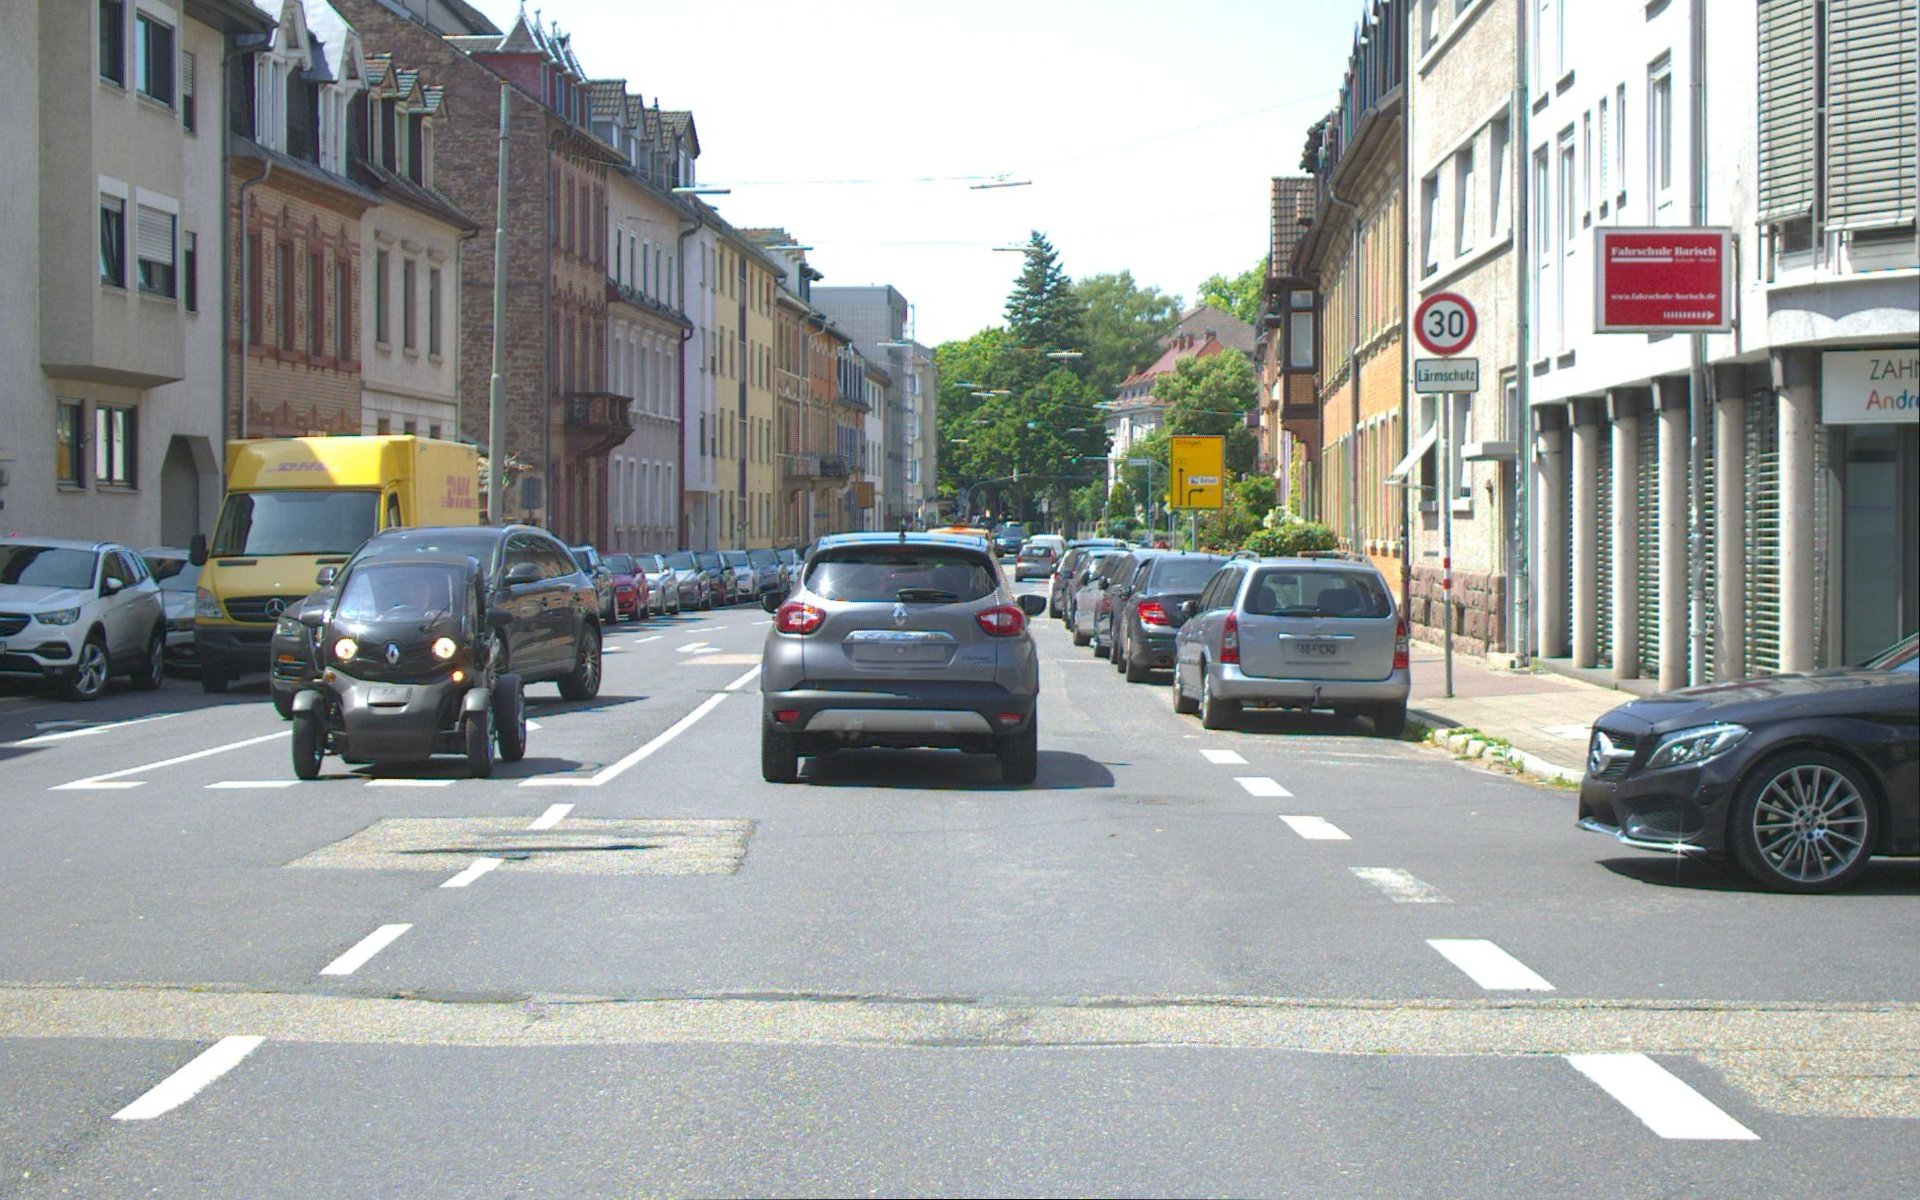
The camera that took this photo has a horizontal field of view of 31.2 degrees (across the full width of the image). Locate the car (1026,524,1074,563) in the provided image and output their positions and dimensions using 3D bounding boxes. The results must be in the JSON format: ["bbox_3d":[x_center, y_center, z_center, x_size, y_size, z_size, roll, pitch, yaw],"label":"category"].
[{"bbox_3d":[3.653,-2.289,139.668,1.763,1.554,3.942,0,1,4],"label":"car"}]

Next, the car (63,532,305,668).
[{"bbox_3d":[-9.345,-0.030,41.720,1.840,1.483,4.386,3,1,1],"label":"car"}]

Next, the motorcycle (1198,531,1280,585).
[{"bbox_3d":[7.503,-1.138,92.680,2.129,1.403,0.937,-2,1,2],"label":"motorcycle"}]

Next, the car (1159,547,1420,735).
[{"bbox_3d":[2.769,0.295,29.679,1.677,1.449,4.143,2,1,-2],"label":"car"}]

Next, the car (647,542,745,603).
[{"bbox_3d":[-6.752,-0.722,88.460,1.840,1.417,4.502,-3,1,4],"label":"car"}]

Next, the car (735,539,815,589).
[{"bbox_3d":[-5.644,-1.118,105.396,1.840,1.417,4.557,-3,1,4],"label":"car"}]

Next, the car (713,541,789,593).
[{"bbox_3d":[-6.035,-0.968,99.628,1.840,1.418,4.646,-2,1,0],"label":"car"}]

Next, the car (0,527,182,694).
[{"bbox_3d":[-9.536,0.059,35.811,1.839,1.590,4.387,3,1,-1],"label":"car"}]

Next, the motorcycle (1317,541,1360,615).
[{"bbox_3d":[6.249,-0.367,56.797,0.596,1.220,1.361,0,1,1],"label":"motorcycle"}]

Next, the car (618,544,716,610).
[{"bbox_3d":[-7.007,-0.565,82.598,1.840,1.417,4.502,-4,1,1],"label":"car"}]

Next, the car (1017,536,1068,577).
[{"bbox_3d":[3.190,-1.679,131.990,1.763,1.554,3.942,0,1,4],"label":"car"}]

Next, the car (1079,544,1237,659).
[{"bbox_3d":[2.532,-0.010,44.770,1.651,1.415,4.049,0,1,-2],"label":"car"}]

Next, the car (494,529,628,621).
[{"bbox_3d":[-7.552,-0.485,65.431,1.840,1.591,4.502,-3,1,2],"label":"car"}]

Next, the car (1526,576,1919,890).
[{"bbox_3d":[5.188,0.610,16.397,4.580,1.360,2.000,1,1,-2],"label":"car"}]

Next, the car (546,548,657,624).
[{"bbox_3d":[-7.277,-0.305,70.154,1.839,1.417,4.503,-3,1,-1],"label":"car"}]

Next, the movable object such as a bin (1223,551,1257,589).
[{"bbox_3d":[6.801,-0.722,83.445,0.788,0.904,0.539,0,1,0],"label":"movable object such as a bin"}]

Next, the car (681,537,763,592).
[{"bbox_3d":[-6.468,-0.966,93.707,1.840,1.418,4.502,-2,1,0],"label":"car"}]

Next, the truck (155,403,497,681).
[{"bbox_3d":[-6.941,-0.652,38.643,2.225,2.762,7.564,-1,1,1],"label":"truck"}]

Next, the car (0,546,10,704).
[{"bbox_3d":[-9.869,0.222,30.134,1.839,1.484,4.387,3,1,-1],"label":"car"}]

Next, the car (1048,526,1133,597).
[{"bbox_3d":[3.189,-0.944,83.460,1.994,1.656,4.625,0,1,2],"label":"car"}]

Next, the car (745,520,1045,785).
[{"bbox_3d":[-0.518,0.283,22.943,1.743,1.611,4.001,0,1,-5],"label":"car"}]

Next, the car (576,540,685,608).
[{"bbox_3d":[-7.324,-0.587,76.741,1.840,1.418,4.502,-2,1,2],"label":"car"}]

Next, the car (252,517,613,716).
[{"bbox_3d":[-4.588,0.108,30.601,1.813,1.615,4.440,-1,1,10],"label":"car"}]

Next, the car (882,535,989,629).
[{"bbox_3d":[-0.410,-0.354,62.444,1.812,1.615,4.441,-1,1,1],"label":"car"}]

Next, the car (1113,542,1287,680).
[{"bbox_3d":[2.652,0.080,38.784,1.711,1.468,4.438,0,1,1],"label":"car"}]

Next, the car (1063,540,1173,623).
[{"bbox_3d":[2.739,-0.341,60.239,1.700,1.376,4.167,1,1,0],"label":"car"}]

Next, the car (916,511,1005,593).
[{"bbox_3d":[0.037,-1.224,87.024,1.994,2.007,4.466,0,1,3],"label":"car"}]

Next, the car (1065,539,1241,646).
[{"bbox_3d":[2.737,-0.131,49.783,1.853,1.458,4.551,1,1,-5],"label":"car"}]

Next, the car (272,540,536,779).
[{"bbox_3d":[-3.567,0.341,22.402,1.496,1.454,2.723,0,1,-5],"label":"car"}]

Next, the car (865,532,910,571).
[{"bbox_3d":[-3.176,-2.112,150.449,1.904,1.614,4.303,-2,1,-1],"label":"car"}]
